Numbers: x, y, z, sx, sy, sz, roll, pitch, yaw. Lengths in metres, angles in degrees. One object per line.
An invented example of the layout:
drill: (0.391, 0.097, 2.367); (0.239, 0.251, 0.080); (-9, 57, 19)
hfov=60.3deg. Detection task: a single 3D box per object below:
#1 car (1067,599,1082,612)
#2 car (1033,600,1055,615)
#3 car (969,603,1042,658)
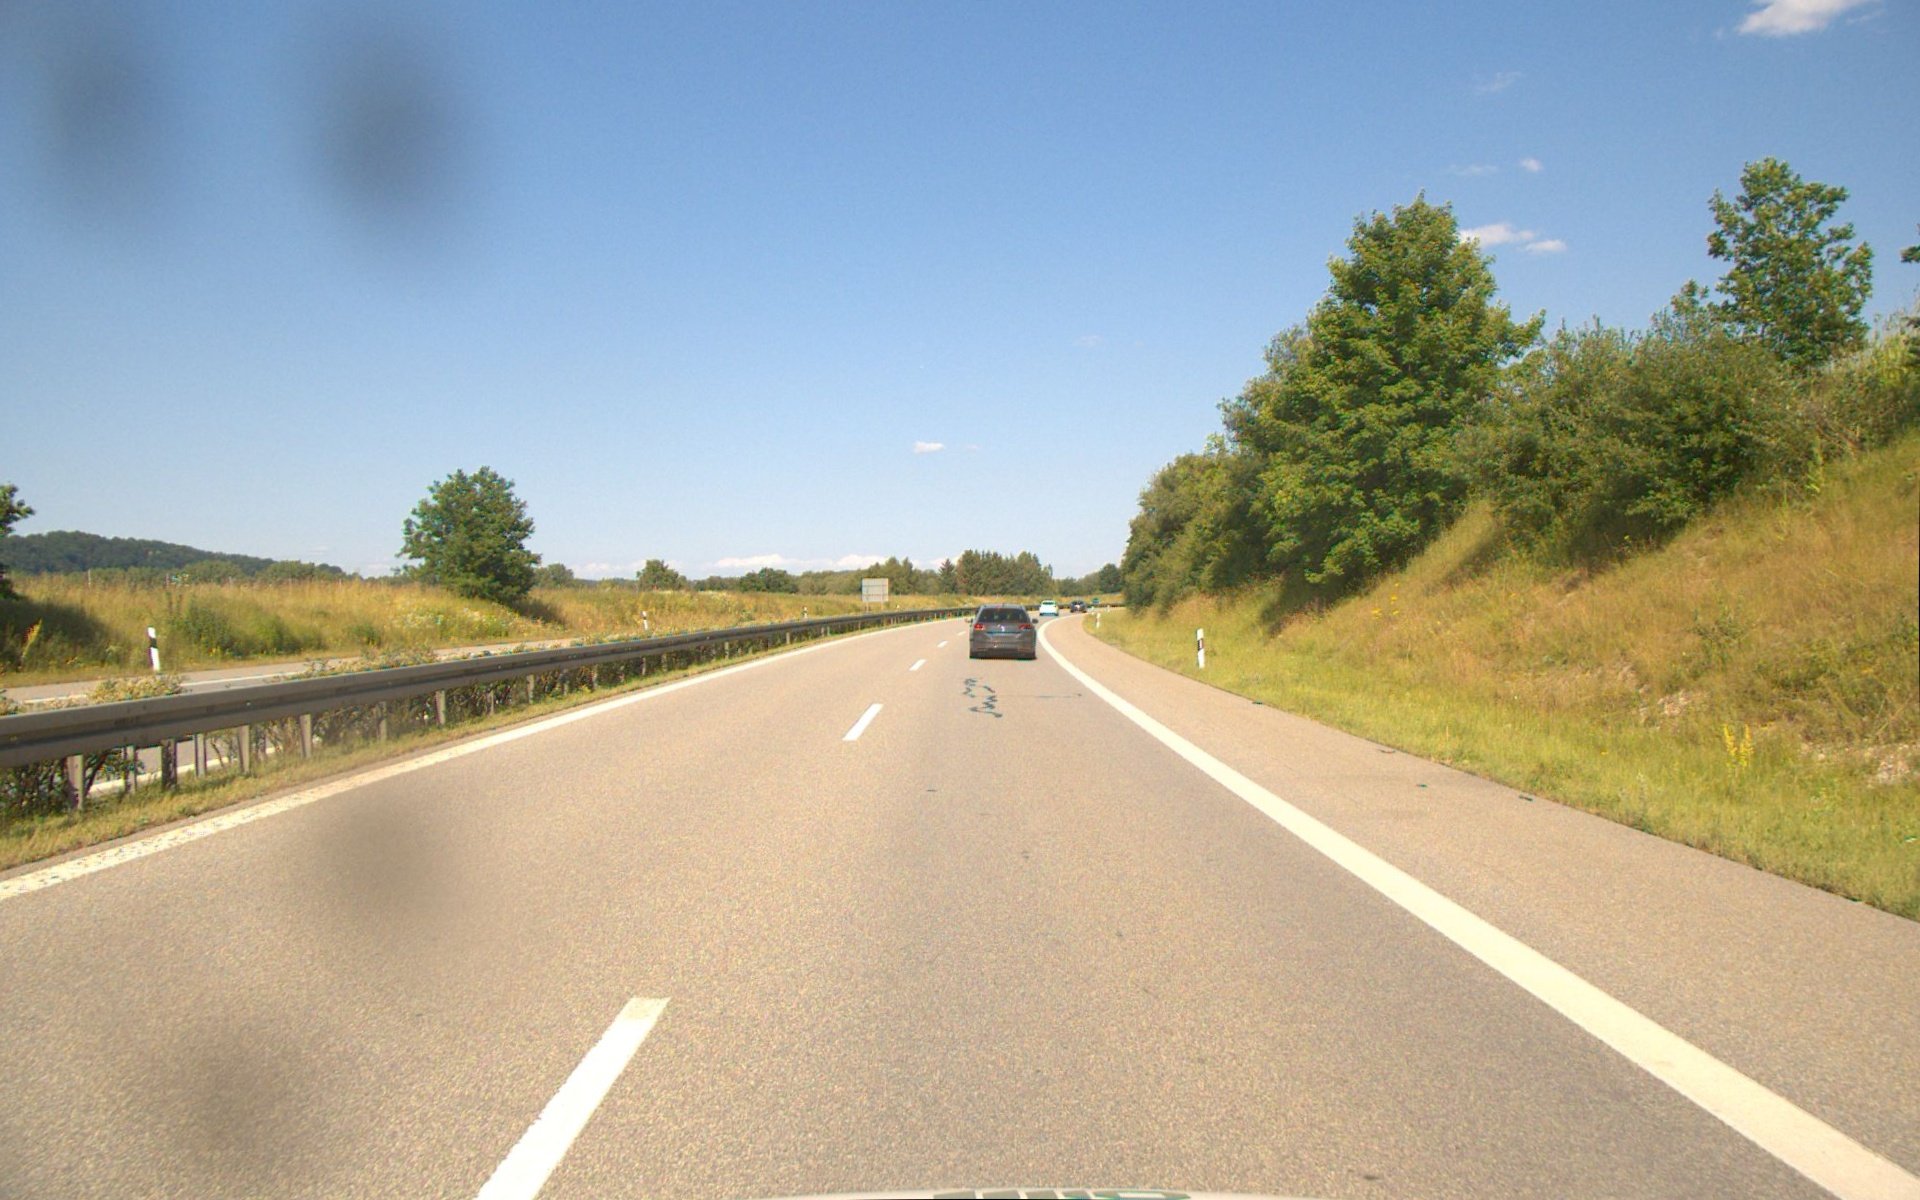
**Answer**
car: (13.812, 0.635, 199.253); (1.674, 1.411, 3.357); (2, -1, 6)
car: (8.181, 0.735, 161.195); (1.965, 1.368, 4.002); (2, -1, 5)
car: (1.171, 0.781, 44.420); (1.755, 1.368, 3.999); (1, 0, -1)
